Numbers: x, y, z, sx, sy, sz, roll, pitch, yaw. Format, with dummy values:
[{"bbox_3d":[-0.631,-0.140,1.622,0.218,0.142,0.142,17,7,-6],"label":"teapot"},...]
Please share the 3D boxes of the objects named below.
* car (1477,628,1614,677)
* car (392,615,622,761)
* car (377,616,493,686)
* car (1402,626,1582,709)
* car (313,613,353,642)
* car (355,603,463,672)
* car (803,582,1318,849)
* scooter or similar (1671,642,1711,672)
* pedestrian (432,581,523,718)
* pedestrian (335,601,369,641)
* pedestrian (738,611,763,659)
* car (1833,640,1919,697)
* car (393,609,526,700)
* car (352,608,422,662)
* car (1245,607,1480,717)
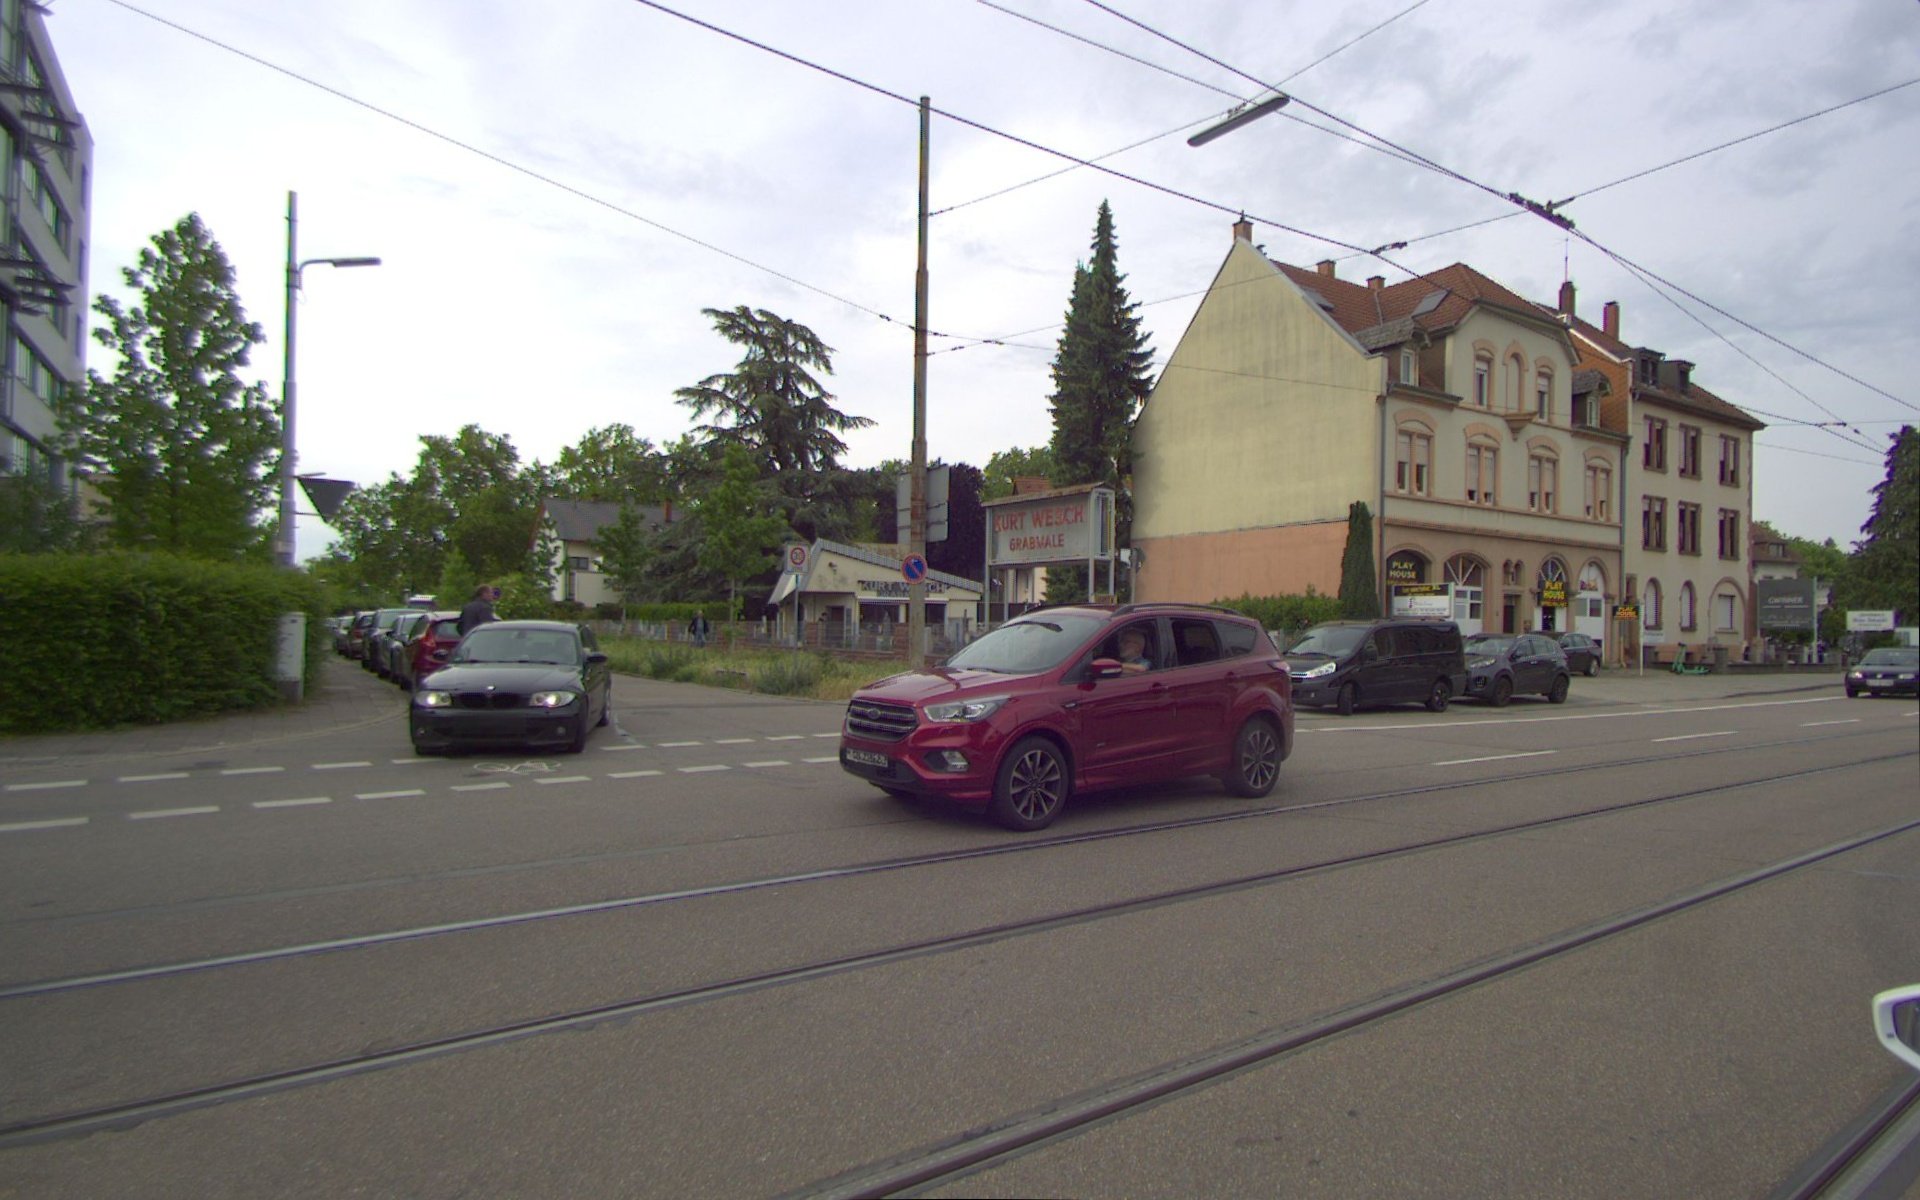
[{"bbox_3d":[19.789,1.774,33.909,4.849,1.512,1.983,2,-1,-32],"label":"car"},{"bbox_3d":[-5.161,0.921,12.000,1.758,1.387,4.101,2,-1,-14],"label":"car"},{"bbox_3d":[-11.704,1.075,22.267,1.762,1.367,4.009,2,-1,-35],"label":"car"},{"bbox_3d":[13.061,1.574,24.578,4.488,1.773,2.024,1,1,-34],"label":"car"},{"bbox_3d":[-47.026,2.018,75.452,1.973,2.040,3.975,2,-1,-25],"label":"car"},{"bbox_3d":[-14.661,0.953,26.626,1.981,1.673,3.959,2,-2,-36],"label":"car"},{"bbox_3d":[1.029,0.840,8.660,4.368,1.747,1.828,2,-2,-38],"label":"car"},{"bbox_3d":[28.054,2.182,38.559,1.157,1.116,0.527,1,-1,30],"label":"scooter or similar"},{"bbox_3d":[-6.792,0.682,14.120,1.047,1.849,0.800,2,-1,-30],"label":"pedestrian"},{"bbox_3d":[-31.406,1.084,51.866,1.199,2.040,1.182,-1,-2,44],"label":"pedestrian"},{"bbox_3d":[-7.952,1.329,38.147,0.752,1.797,0.631,2,-1,-28],"label":"pedestrian"},{"bbox_3d":[27.079,1.972,29.071,4.100,1.550,1.779,3,-4,-35],"label":"car"},{"bbox_3d":[-9.152,0.895,18.212,1.707,1.441,3.982,0,0,-33],"label":"car"},{"bbox_3d":[-19.902,1.197,34.824,1.869,1.704,3.802,2,-1,-33],"label":"car"},{"bbox_3d":[8.585,1.265,21.264,5.129,2.040,1.975,2,0,-33],"label":"car"}]
